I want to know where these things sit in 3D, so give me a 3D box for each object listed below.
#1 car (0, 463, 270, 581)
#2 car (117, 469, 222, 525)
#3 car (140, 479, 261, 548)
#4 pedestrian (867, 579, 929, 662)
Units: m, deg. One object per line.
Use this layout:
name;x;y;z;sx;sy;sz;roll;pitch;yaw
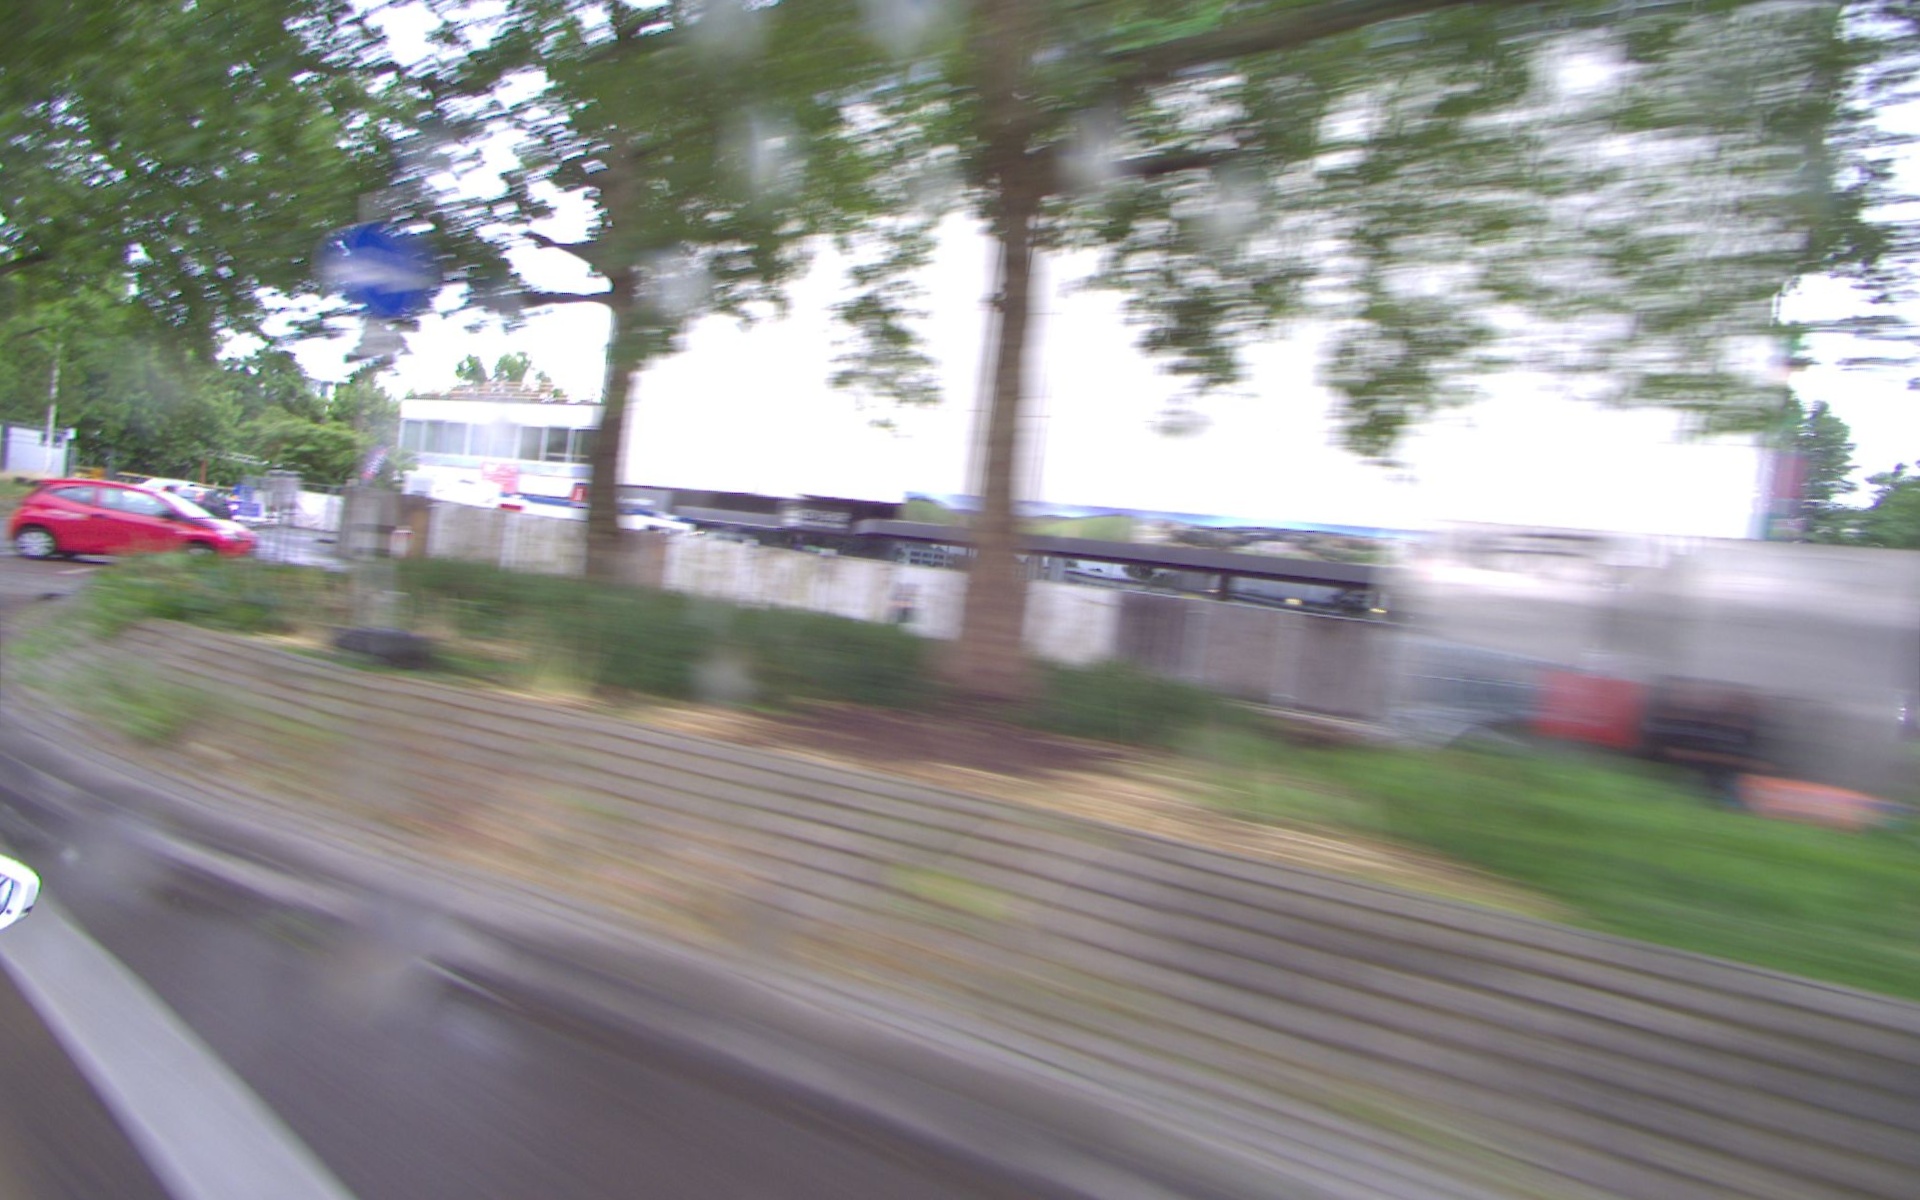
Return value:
car;-15.017;-1.352;18.367;3.572;1.523;1.725;8;-1;-23
car;-35.244;-4.548;45.014;1.920;1.802;4.442;7;-1;-15
car;-29.103;-3.239;38.735;2.102;2.037;4.632;7;-1;-18
pedestrian;-1.194;0.395;19.383;0.910;1.488;0.549;8;2;34
